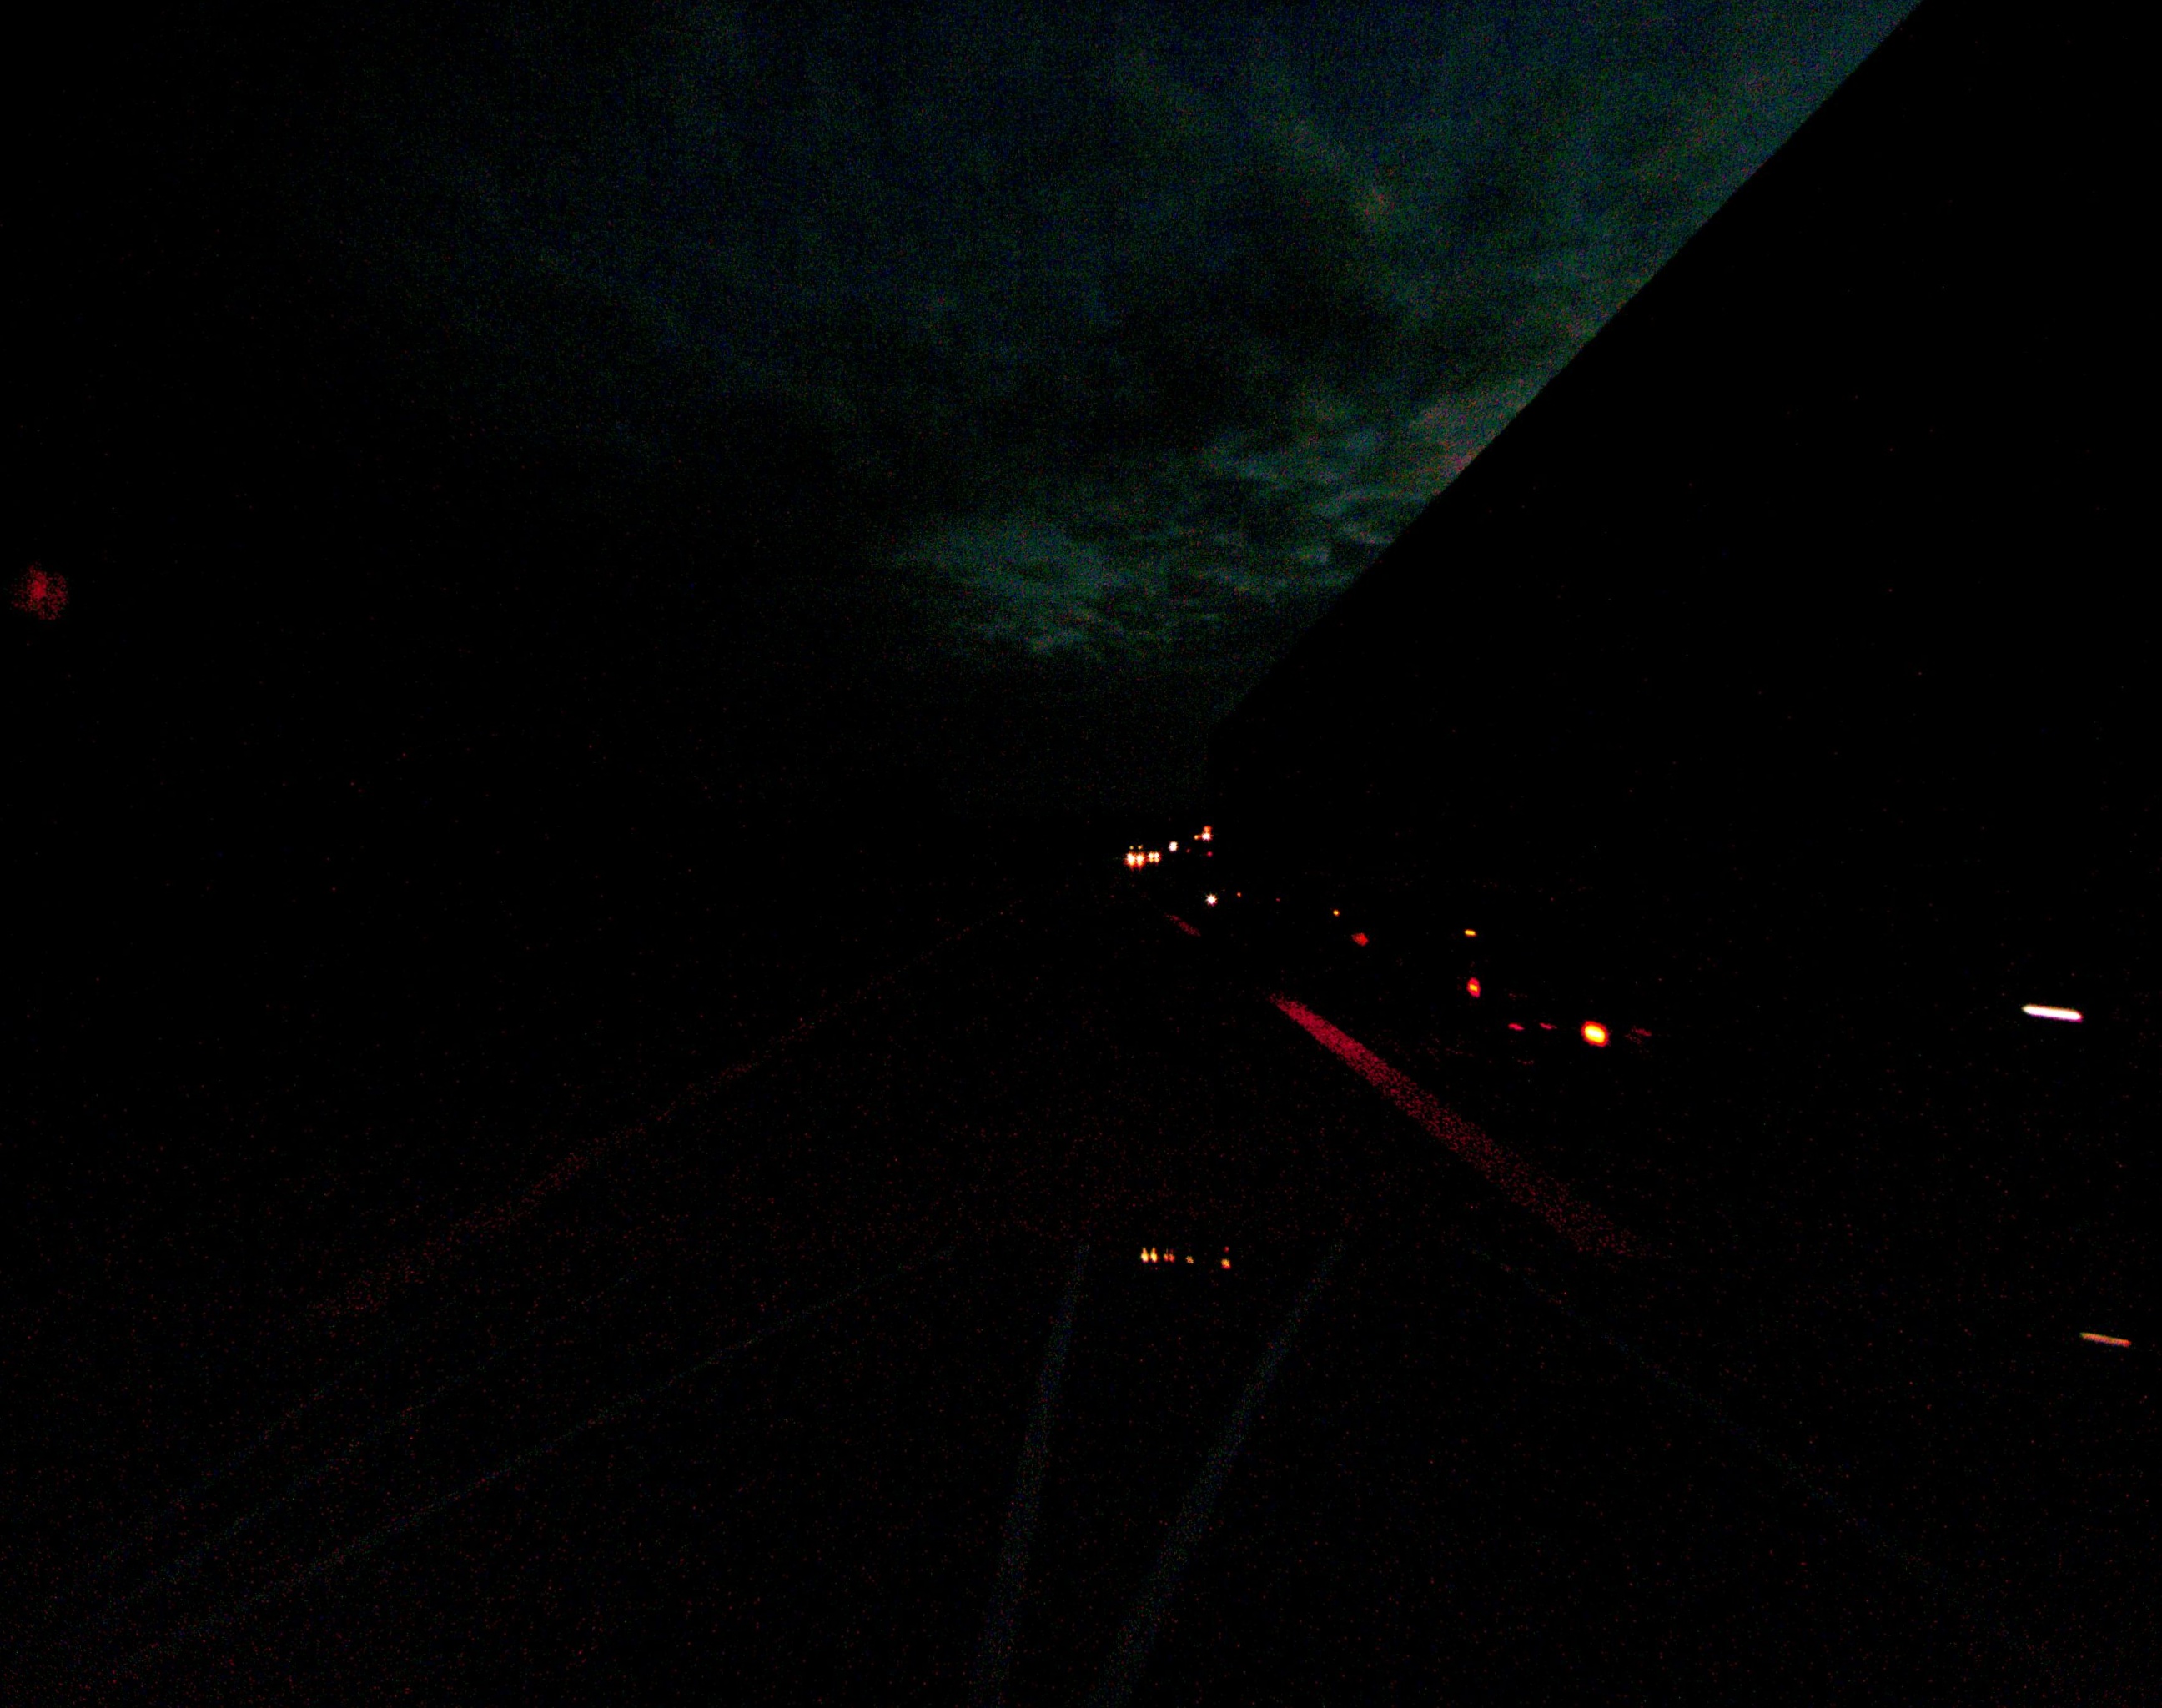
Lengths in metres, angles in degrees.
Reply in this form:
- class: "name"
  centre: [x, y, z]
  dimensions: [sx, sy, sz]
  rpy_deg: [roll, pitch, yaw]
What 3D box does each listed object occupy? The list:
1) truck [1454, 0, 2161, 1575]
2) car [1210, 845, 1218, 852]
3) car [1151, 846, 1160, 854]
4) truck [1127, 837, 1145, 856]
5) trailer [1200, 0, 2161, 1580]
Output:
- class: "truck"
  centre: [3.804, -0.334, 1.789]
  dimensions: [2.786, 3.879, 6.154]
  rpy_deg: [-2, 0, 0]
- class: "car"
  centre: [37.629, -1.523, 215.088]
  dimensions: [1.998, 2.002, 4.001]
  rpy_deg: [-1, 1, 5]
- class: "car"
  centre: [20.837, -1.091, 211.835]
  dimensions: [1.998, 2.002, 4.000]
  rpy_deg: [-1, 1, 0]
- class: "truck"
  centre: [12.882, -1.793, 179.077]
  dimensions: [3.353, 4.293, 11.324]
  rpy_deg: [-1, 1, 1]
- class: "trailer"
  centre: [3.841, -0.373, 8.403]
  dimensions: [2.781, 3.892, 14.818]
  rpy_deg: [-2, 0, 1]
